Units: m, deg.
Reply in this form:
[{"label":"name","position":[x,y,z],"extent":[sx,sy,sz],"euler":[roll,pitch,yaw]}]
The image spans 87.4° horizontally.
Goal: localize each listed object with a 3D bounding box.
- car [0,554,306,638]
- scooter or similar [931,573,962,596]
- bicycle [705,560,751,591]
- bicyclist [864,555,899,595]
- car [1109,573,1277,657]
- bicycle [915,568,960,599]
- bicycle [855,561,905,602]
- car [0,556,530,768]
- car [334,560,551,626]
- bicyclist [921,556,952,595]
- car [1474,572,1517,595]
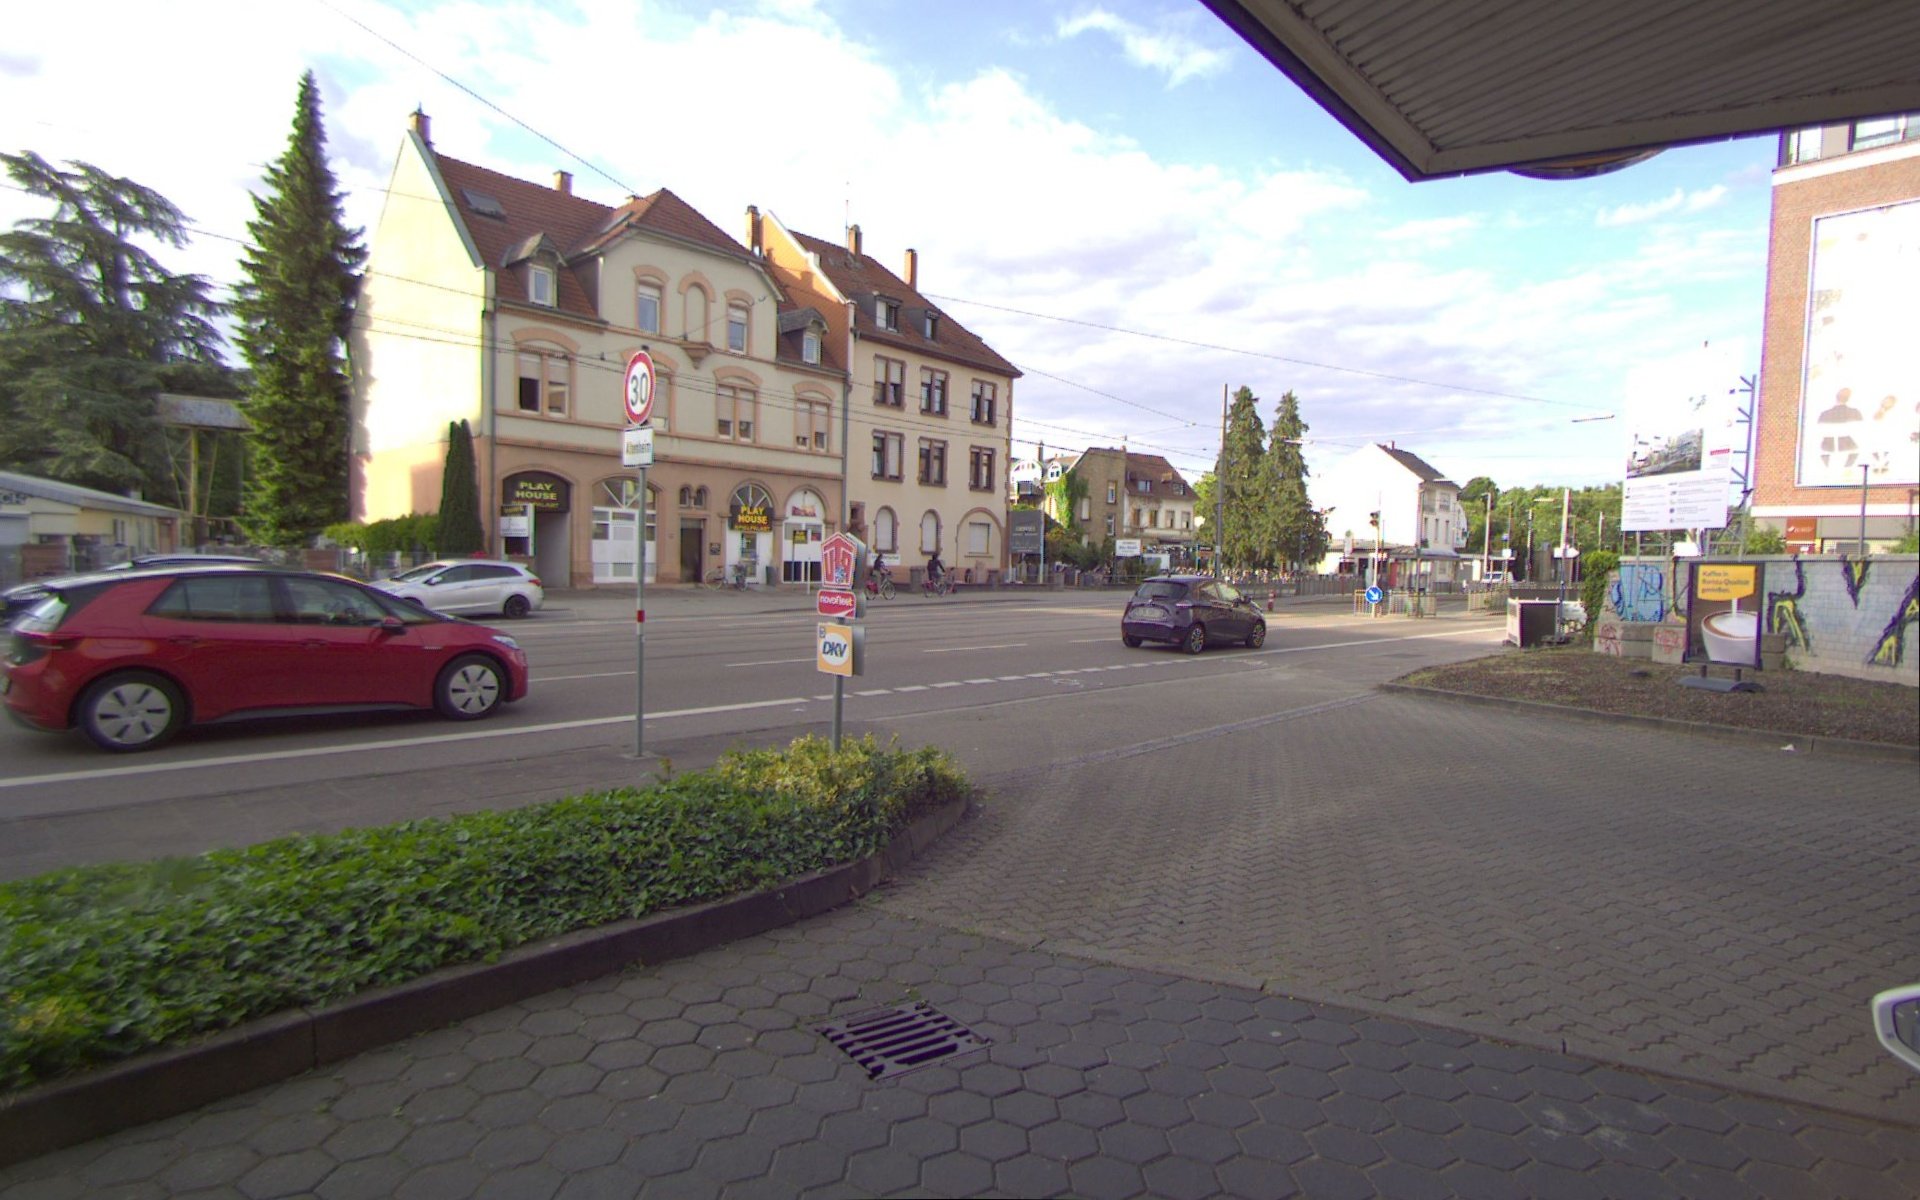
[{"label":"car","position":[-16.570,-0.151,20.733],"extent":[1.970,1.516,4.801],"euler":[3,3,40]},{"label":"scooter or similar","position":[-0.596,-0.700,45.135],"extent":[0.488,1.015,1.592],"euler":[5,5,39]},{"label":"bicycle","position":[-9.142,-0.963,39.709],"extent":[0.508,1.189,1.809],"euler":[4,2,40]},{"label":"bicyclist","position":[-3.061,-0.978,39.242],"extent":[0.776,1.512,1.091],"euler":[6,5,39]},{"label":"car","position":[5.075,0.252,21.625],"extent":[1.707,1.564,3.976],"euler":[5,4,43]},{"label":"bicycle","position":[-0.946,-0.714,42.915],"extent":[0.833,1.219,1.897],"euler":[8,6,38]},{"label":"bicycle","position":[-3.113,-0.717,39.236],"extent":[0.776,1.512,1.983],"euler":[6,5,38]},{"label":"car","position":[-6.616,0.435,9.784],"extent":[1.744,1.564,4.108],"euler":[5,4,42]},{"label":"car","position":[-13.001,-0.251,25.465],"extent":[1.970,1.495,4.467],"euler":[3,3,40]},{"label":"bicyclist","position":[-0.992,-1.050,42.813],"extent":[0.833,1.579,0.960],"euler":[8,6,39]},{"label":"car","position":[46.902,-1.436,87.984],"extent":[4.380,1.915,1.943],"euler":[0,3,-43]}]
